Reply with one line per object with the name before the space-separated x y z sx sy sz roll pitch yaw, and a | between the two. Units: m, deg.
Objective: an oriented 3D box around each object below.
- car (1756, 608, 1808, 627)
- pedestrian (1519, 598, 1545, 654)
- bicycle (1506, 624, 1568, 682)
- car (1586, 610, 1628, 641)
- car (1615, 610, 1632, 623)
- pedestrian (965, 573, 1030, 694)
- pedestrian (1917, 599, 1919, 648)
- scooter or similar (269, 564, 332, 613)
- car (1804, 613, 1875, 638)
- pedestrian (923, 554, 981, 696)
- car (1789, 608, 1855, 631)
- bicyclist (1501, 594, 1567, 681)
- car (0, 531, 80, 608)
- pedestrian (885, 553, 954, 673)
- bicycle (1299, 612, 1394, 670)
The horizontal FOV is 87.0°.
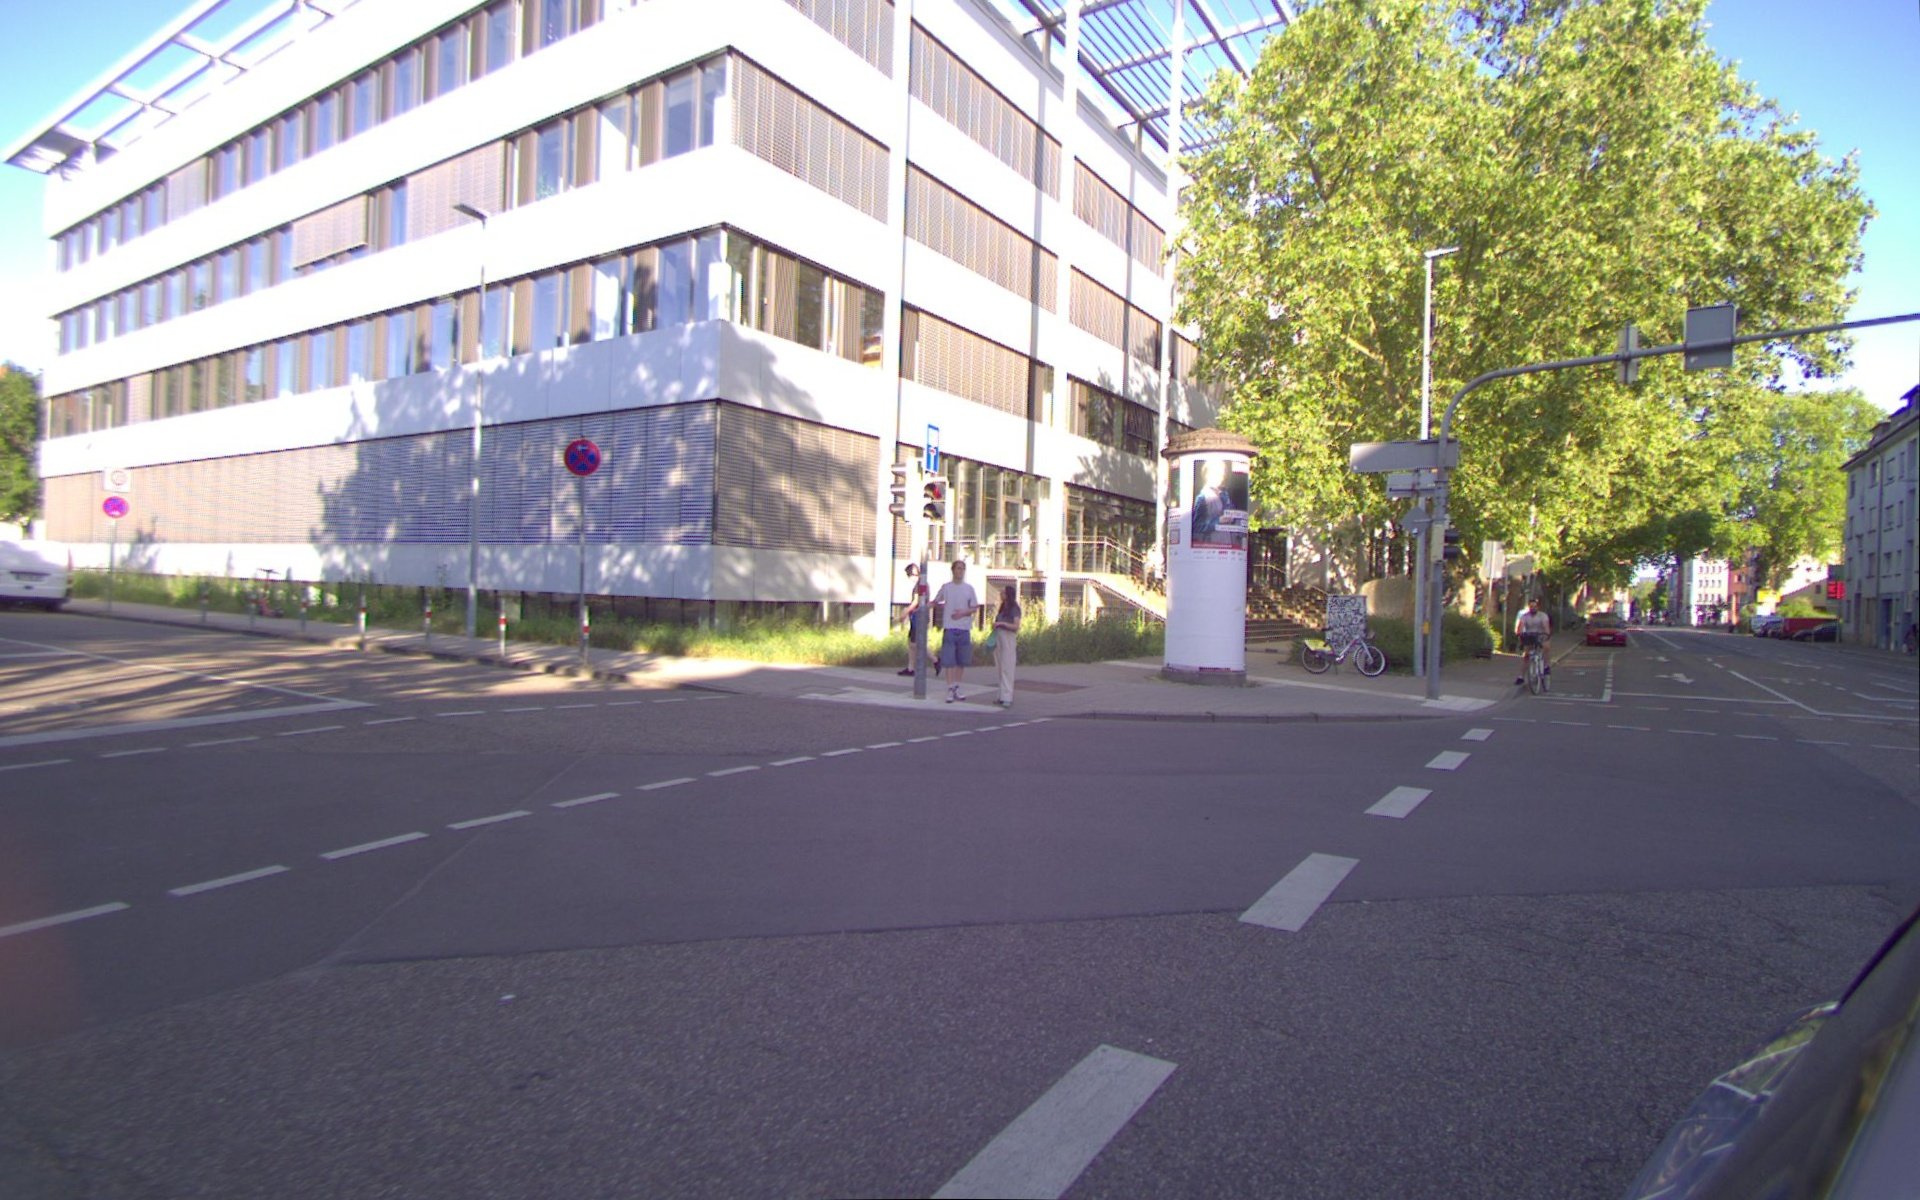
car | 85.454 1.785 105.247 3.976 1.720 1.810 3 1 36
pedestrian | 18.878 0.849 33.406 0.665 1.819 0.659 -2 -1 28
bicycle | 11.526 1.049 20.192 0.701 1.080 1.899 2 -1 41
car | 34.600 1.351 54.182 1.774 1.549 4.602 -2 -2 33
car | 82.772 2.020 126.281 1.775 1.548 4.601 2 1 33
pedestrian | 0.497 0.429 13.362 0.666 1.543 0.557 2 0 22
pedestrian | 48.114 1.192 50.040 0.908 2.426 1.075 2 0 33
scooter or similar | -16.703 -0.295 25.624 1.545 1.194 0.692 2 1 31
car | 69.192 1.996 79.716 3.976 1.720 1.810 3 1 36
pedestrian | -0.100 0.326 13.707 0.596 1.862 0.566 2 0 18
car | 71.822 1.637 84.417 3.976 1.720 1.810 3 1 36
bicyclist | 11.402 0.719 20.114 0.946 1.661 0.992 1 0 41
car | -24.925 -0.839 26.081 4.684 1.851 2.085 3 1 32
pedestrian | -0.625 0.184 15.771 0.977 1.793 0.605 2 2 2
bicycle | 7.795 0.816 20.465 1.609 1.011 0.621 4 3 9
